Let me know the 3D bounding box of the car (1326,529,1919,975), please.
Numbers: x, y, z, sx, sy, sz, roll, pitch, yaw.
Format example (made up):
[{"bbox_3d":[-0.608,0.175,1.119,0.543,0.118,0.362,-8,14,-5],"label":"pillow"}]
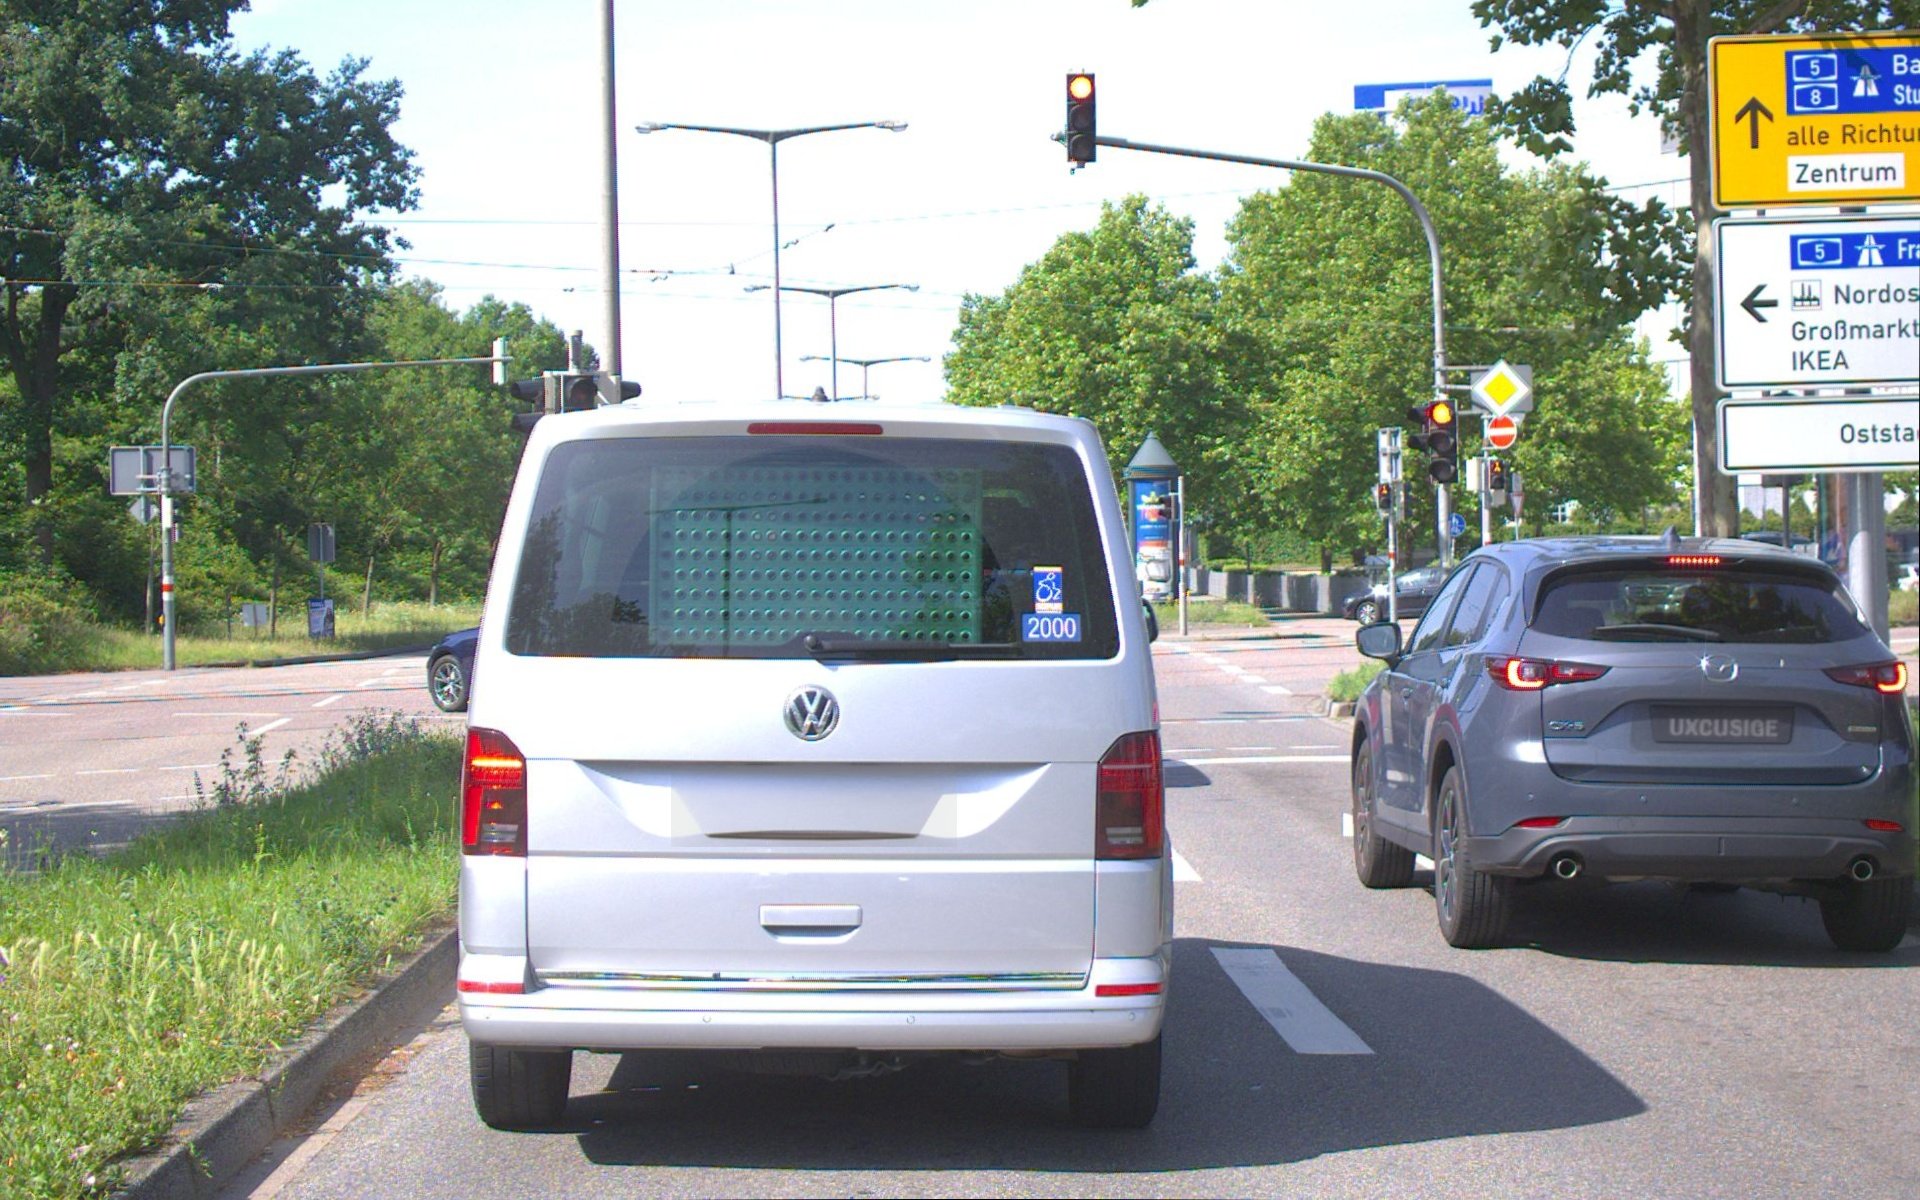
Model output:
[{"bbox_3d":[2.792,0.553,15.119,1.766,1.653,4.496,1,0,-1],"label":"car"}]

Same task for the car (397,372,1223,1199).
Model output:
[{"bbox_3d":[-0.380,0.428,10.670,1.941,1.965,5.022,-1,0,-1],"label":"car"}]

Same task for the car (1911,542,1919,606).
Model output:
[{"bbox_3d":[23.865,-0.652,78.305,4.612,1.439,1.781,-2,1,-36],"label":"car"}]

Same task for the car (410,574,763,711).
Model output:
[{"bbox_3d":[-4.168,0.449,37.853,1.787,1.392,4.323,-2,1,-39],"label":"car"}]

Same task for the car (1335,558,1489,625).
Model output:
[{"bbox_3d":[11.007,-0.197,83.560,3.597,1.560,1.999,1,0,11],"label":"car"}]
